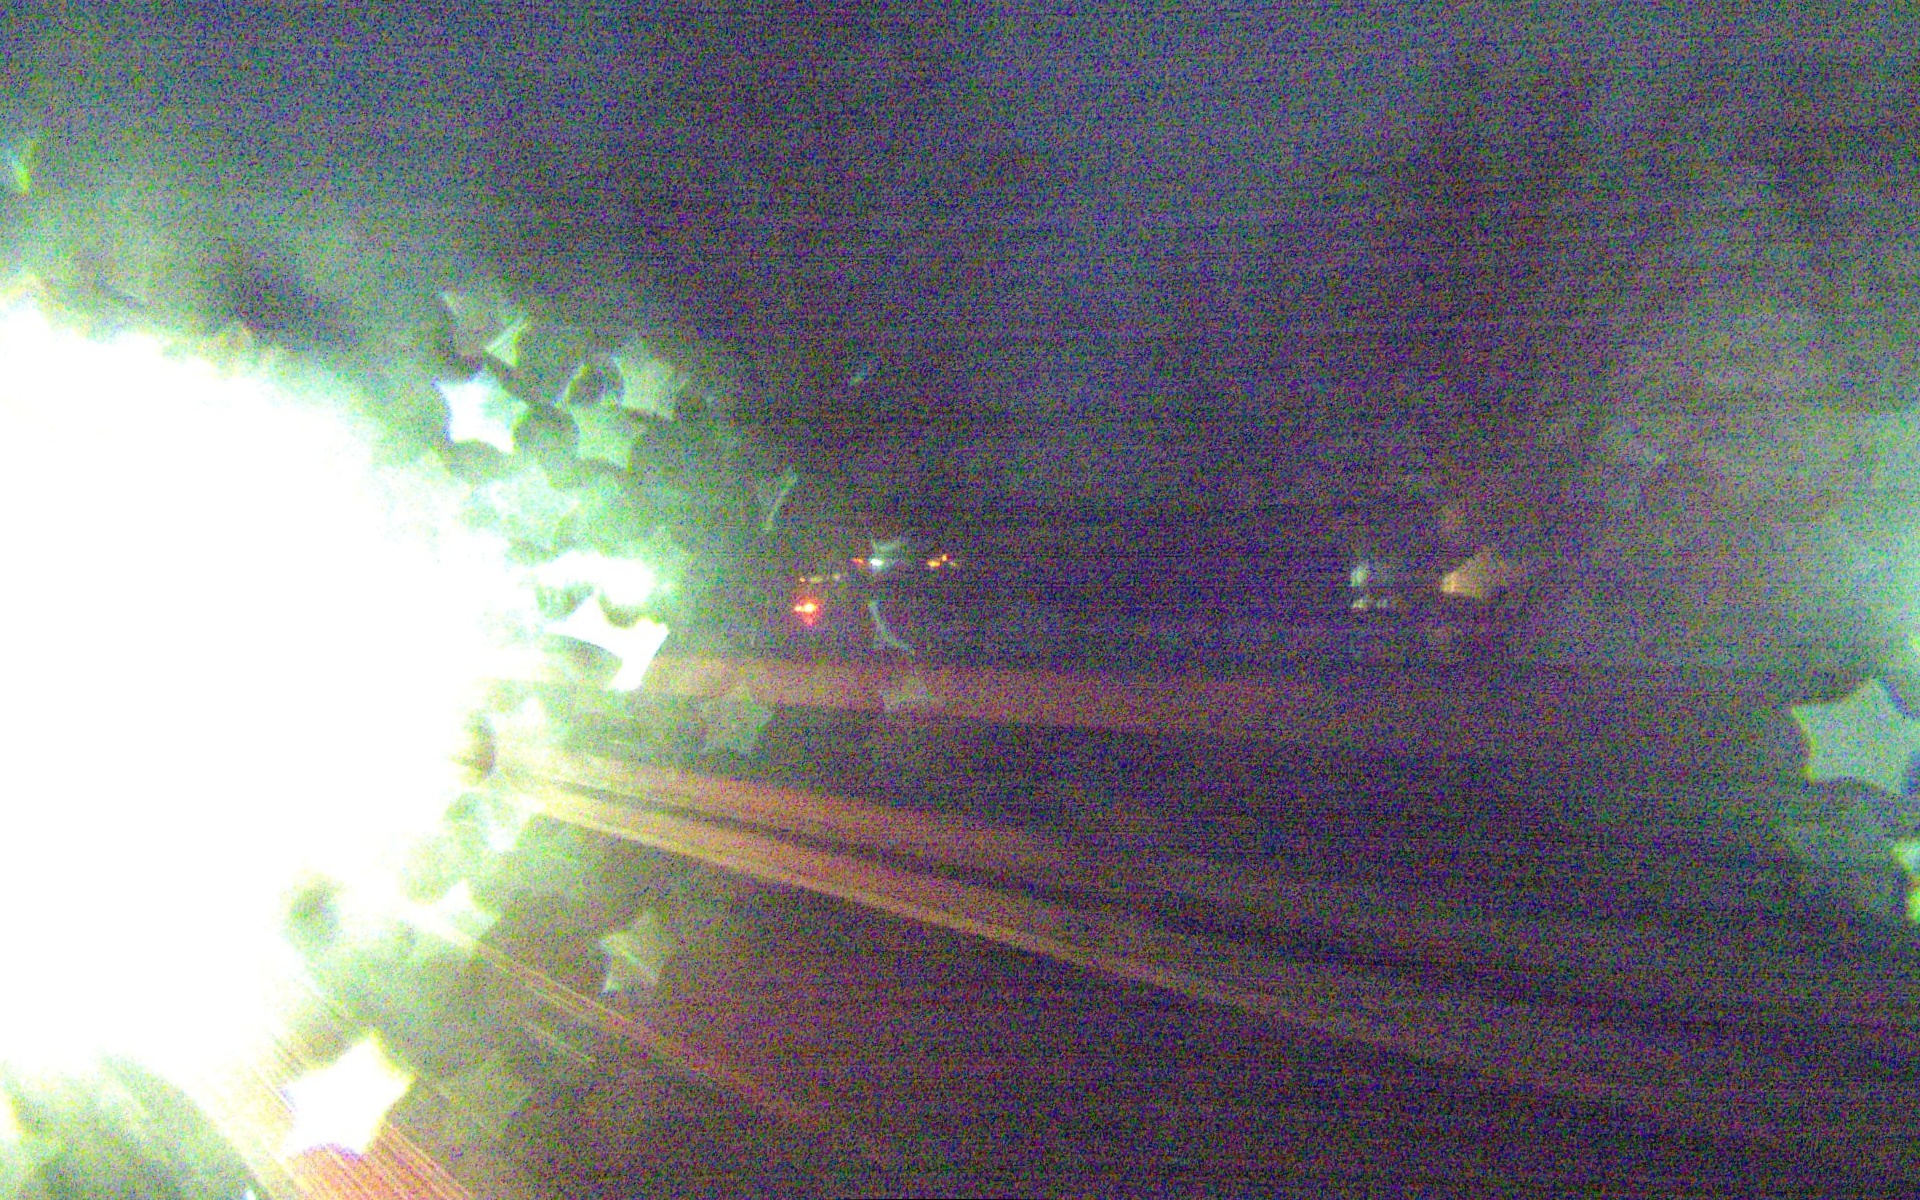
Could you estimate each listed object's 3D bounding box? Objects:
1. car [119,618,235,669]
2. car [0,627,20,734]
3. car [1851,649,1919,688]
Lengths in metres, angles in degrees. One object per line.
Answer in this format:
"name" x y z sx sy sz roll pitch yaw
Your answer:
"car" -21.983 1.178 28.586 1.731 1.322 4.099 1 -1 -25
"car" -13.508 1.092 12.906 1.660 1.462 3.651 1 -1 -34
"car" 46.481 3.328 49.605 4.178 1.765 1.926 1 0 -7
